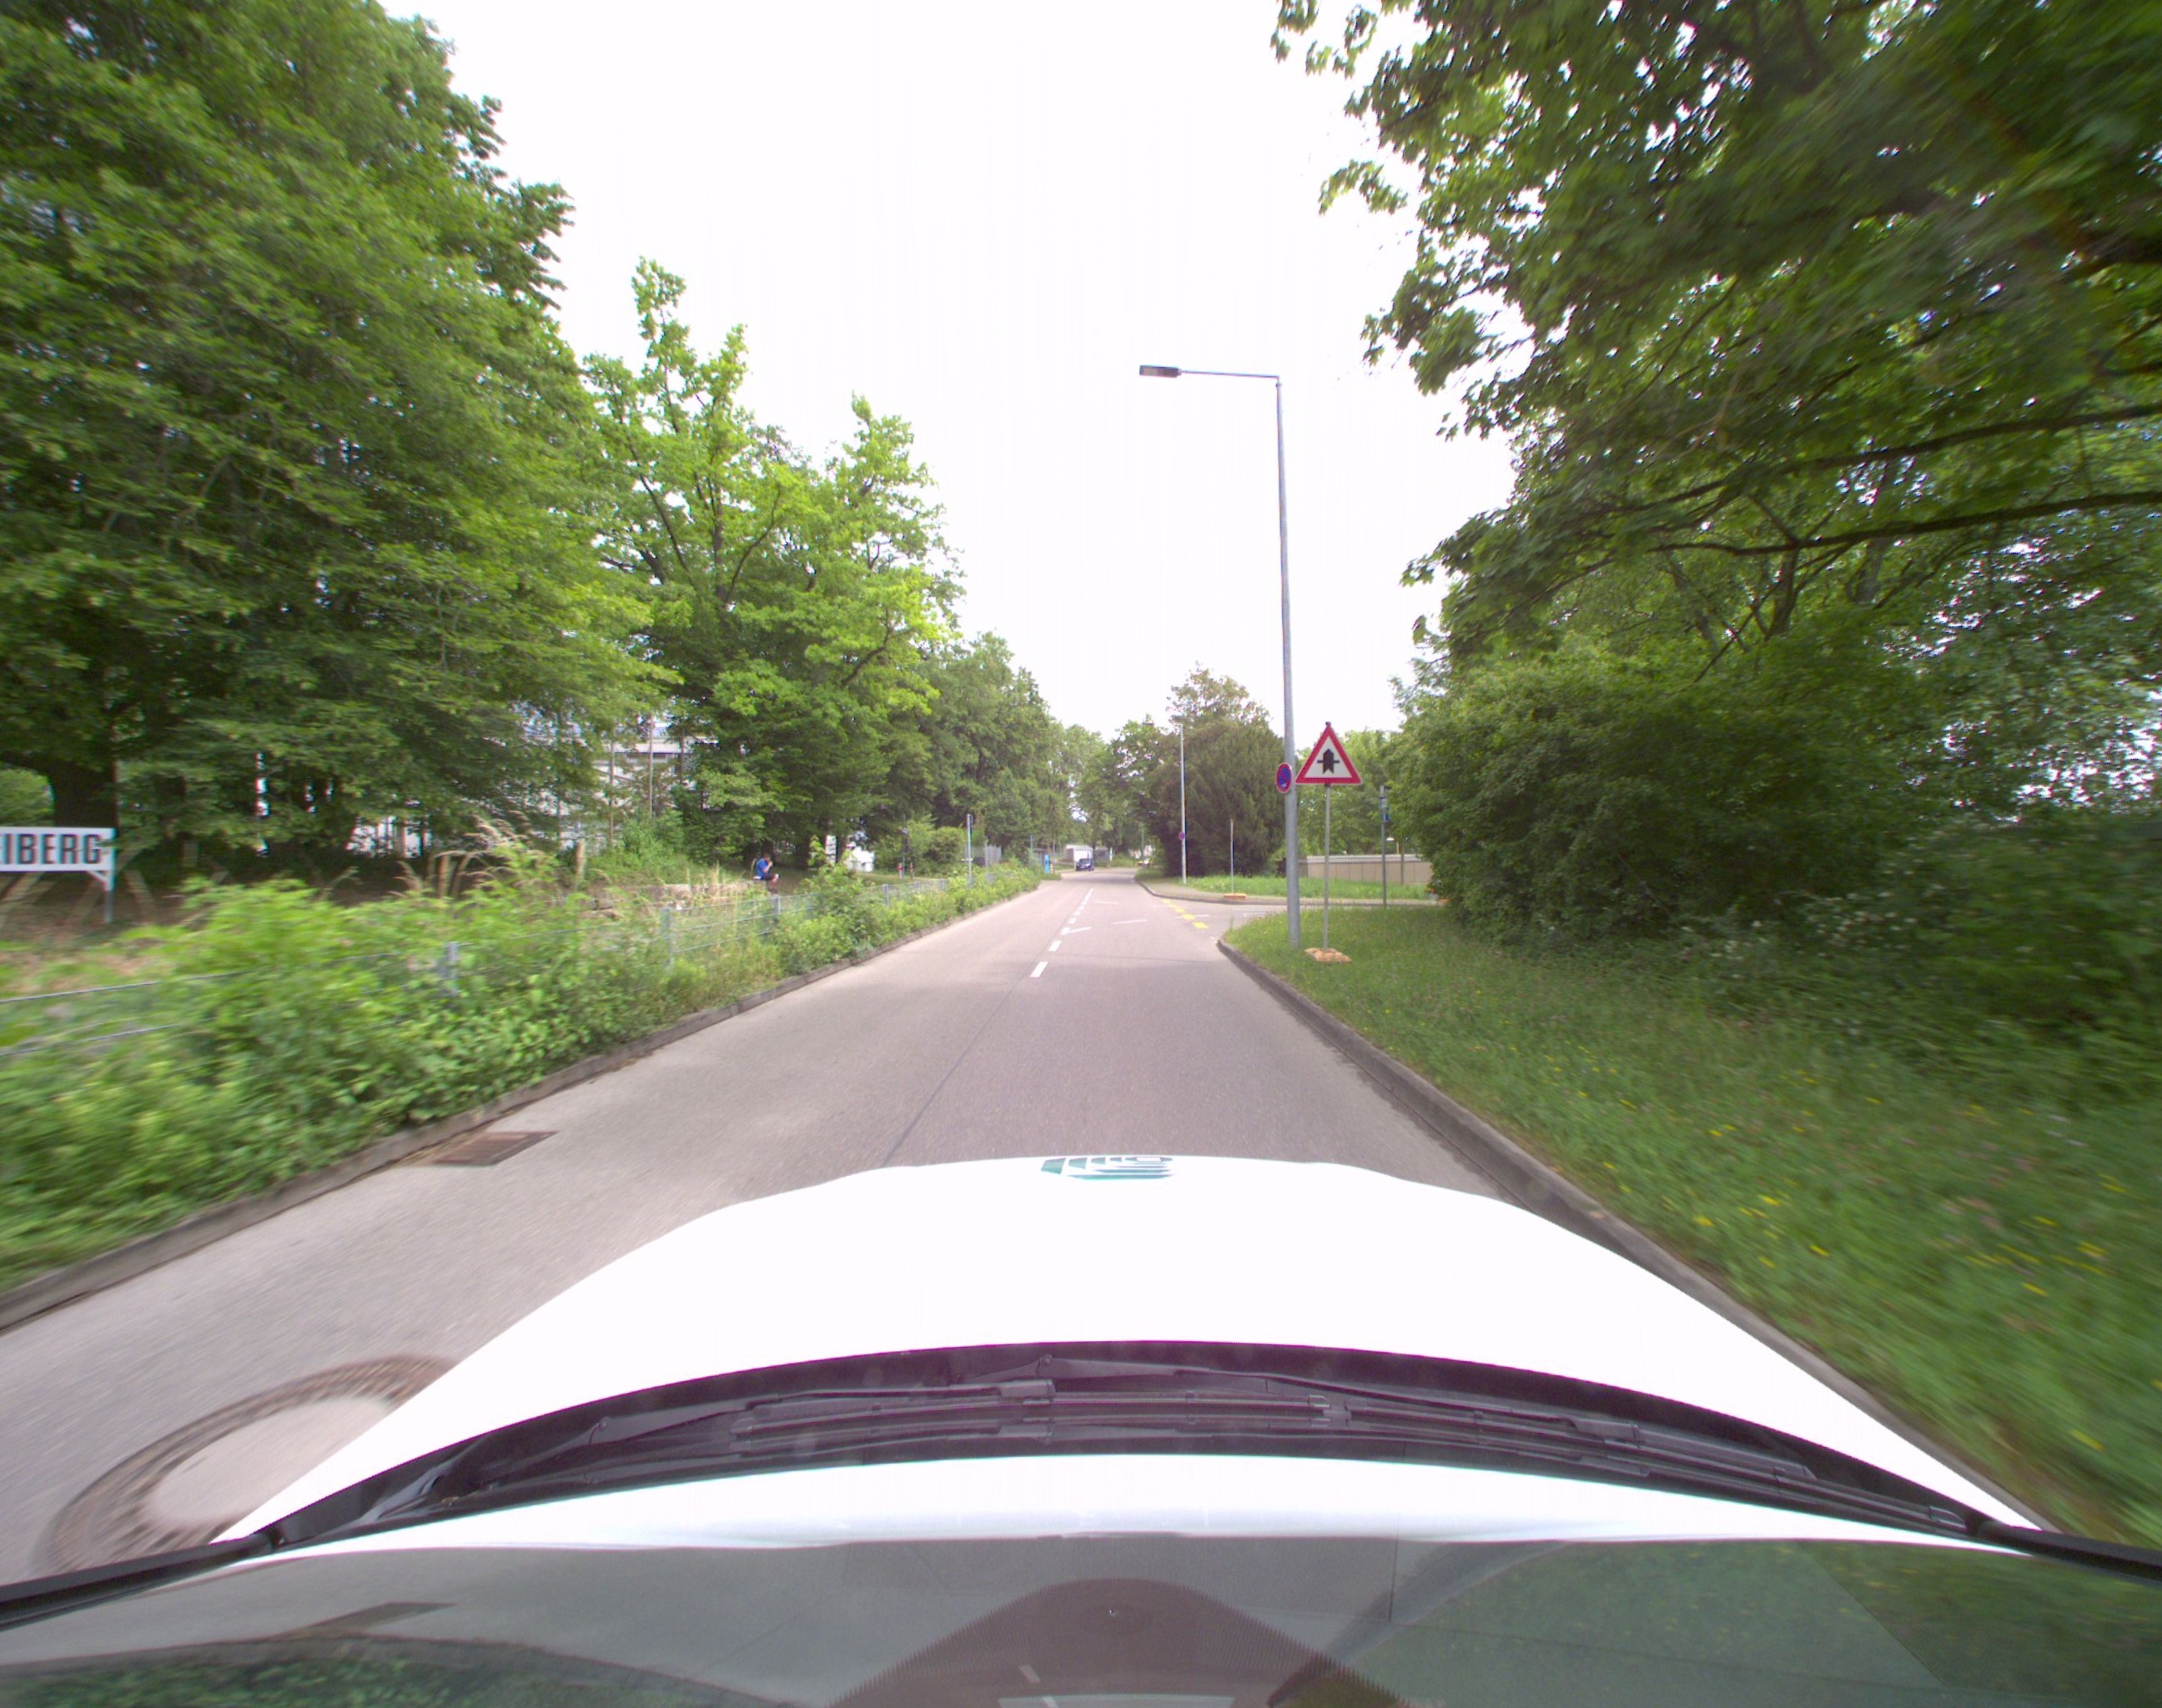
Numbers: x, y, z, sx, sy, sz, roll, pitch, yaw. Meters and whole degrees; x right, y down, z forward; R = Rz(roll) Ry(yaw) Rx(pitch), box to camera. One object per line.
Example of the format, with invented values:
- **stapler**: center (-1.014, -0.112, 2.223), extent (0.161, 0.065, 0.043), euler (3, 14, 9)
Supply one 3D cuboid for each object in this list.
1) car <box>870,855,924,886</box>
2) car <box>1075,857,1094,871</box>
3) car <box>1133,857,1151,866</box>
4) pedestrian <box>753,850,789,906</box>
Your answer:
- **car**: center (-12.548, 1.112, 55.670), extent (1.979, 2.014, 4.015), euler (-1, 0, 14)
- **car**: center (0.463, 1.164, 94.960), extent (1.670, 1.512, 4.440), euler (0, -1, 7)
- **car**: center (9.913, 1.271, 132.020), extent (1.686, 1.403, 4.294), euler (0, -1, 20)
- **pedestrian**: center (-9.377, 0.719, 24.668), extent (0.757, 1.662, 0.809), euler (-1, -1, 0)
